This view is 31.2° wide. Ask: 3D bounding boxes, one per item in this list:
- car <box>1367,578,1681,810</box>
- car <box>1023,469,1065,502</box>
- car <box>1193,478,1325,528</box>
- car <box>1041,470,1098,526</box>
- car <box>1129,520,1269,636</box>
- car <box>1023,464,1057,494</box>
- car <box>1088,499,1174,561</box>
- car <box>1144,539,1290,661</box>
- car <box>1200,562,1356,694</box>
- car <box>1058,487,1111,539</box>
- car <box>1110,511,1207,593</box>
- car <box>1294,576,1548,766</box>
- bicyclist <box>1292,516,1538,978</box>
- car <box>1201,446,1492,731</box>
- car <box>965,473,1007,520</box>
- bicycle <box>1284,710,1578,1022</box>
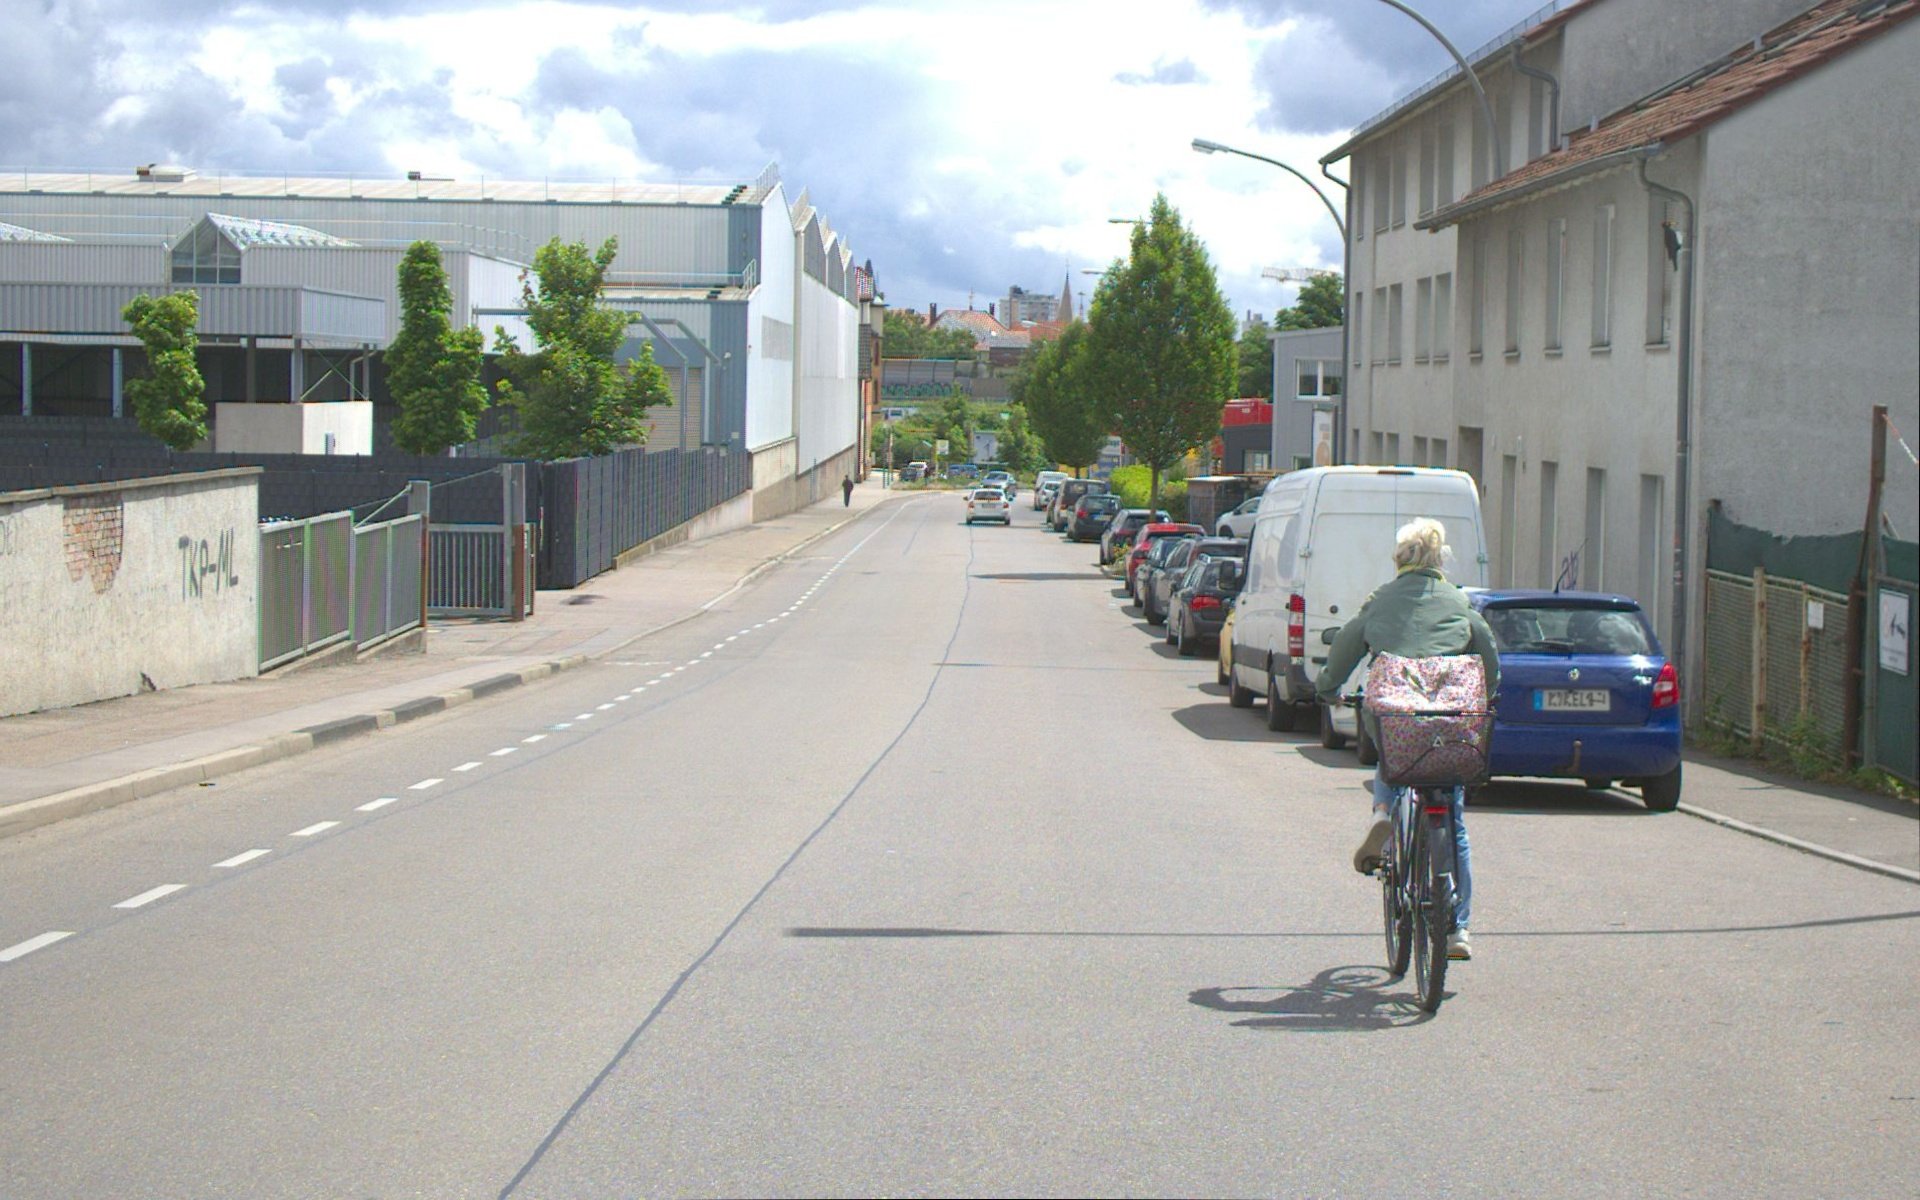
[{"bbox_3d":[4.012,0.616,25.009,1.567,1.505,4.094,1,1,0],"label":"car"},{"bbox_3d":[4.183,-5.732,171.907,1.701,1.522,3.739,4,2,-4],"label":"car"},{"bbox_3d":[9.242,-2.992,106.415,1.720,1.457,4.074,-4,3,-38],"label":"car"},{"bbox_3d":[4.043,-3.805,127.721,1.869,1.983,5.144,1,2,0],"label":"car"},{"bbox_3d":[3.984,-0.411,57.989,1.676,1.632,4.798,3,3,-4],"label":"car"},{"bbox_3d":[4.262,-6.428,182.361,1.701,1.522,3.738,2,2,2],"label":"car"},{"bbox_3d":[4.268,-1.782,86.419,1.791,1.460,4.709,1,2,-1],"label":"car"},{"bbox_3d":[3.863,-0.045,52.415,1.704,1.504,5.088,3,3,-1],"label":"car"},{"bbox_3d":[3.871,0.303,42.300,1.593,1.442,3.790,1,2,1],"label":"car"},{"bbox_3d":[4.089,-2.864,112.903,1.679,1.632,4.123,1,2,2],"label":"car"},{"bbox_3d":[4.034,-1.005,70.274,1.735,1.467,4.262,2,3,1],"label":"car"},{"bbox_3d":[3.947,0.564,29.936,1.592,1.505,3.790,1,1,-1],"label":"car"},{"bbox_3d":[1.645,0.517,12.528,0.739,1.621,0.731,1,0,-2],"label":"bicyclist"},{"bbox_3d":[3.893,-0.144,36.010,2.033,2.632,7.283,1,1,-1],"label":"car"},{"bbox_3d":[1.021,-4.108,136.962,1.567,1.780,3.606,1,1,0],"label":"car"},{"bbox_3d":[1.647,0.913,12.295,0.740,0.972,1.732,1,0,-2],"label":"bicycle"}]
